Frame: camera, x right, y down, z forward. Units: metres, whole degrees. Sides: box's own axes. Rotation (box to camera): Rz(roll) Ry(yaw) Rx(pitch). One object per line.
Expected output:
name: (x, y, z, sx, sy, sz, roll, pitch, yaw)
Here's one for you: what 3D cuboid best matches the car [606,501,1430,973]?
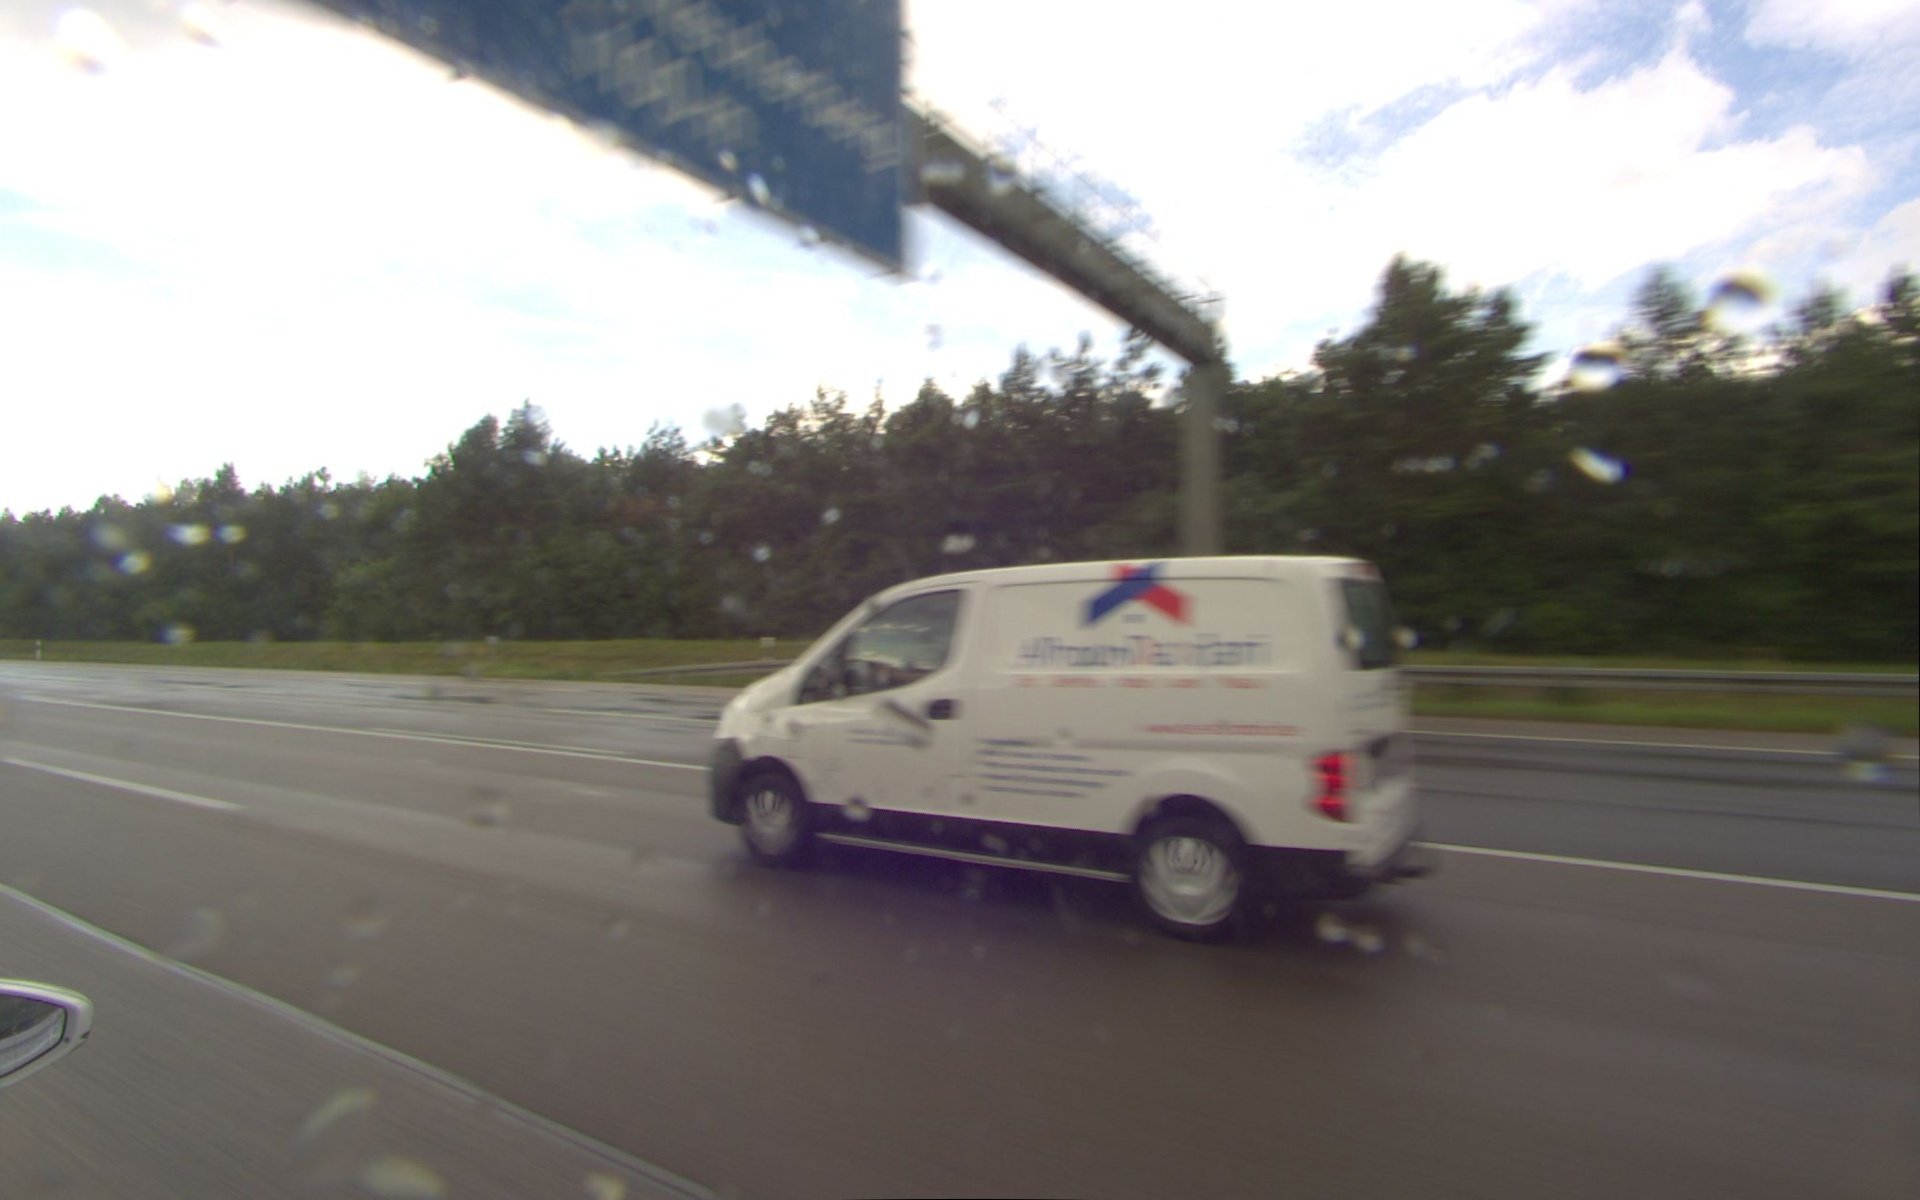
car: (0.156, 0.610, 6.236, 4.813, 1.926, 1.959, -1, -1, 33)
